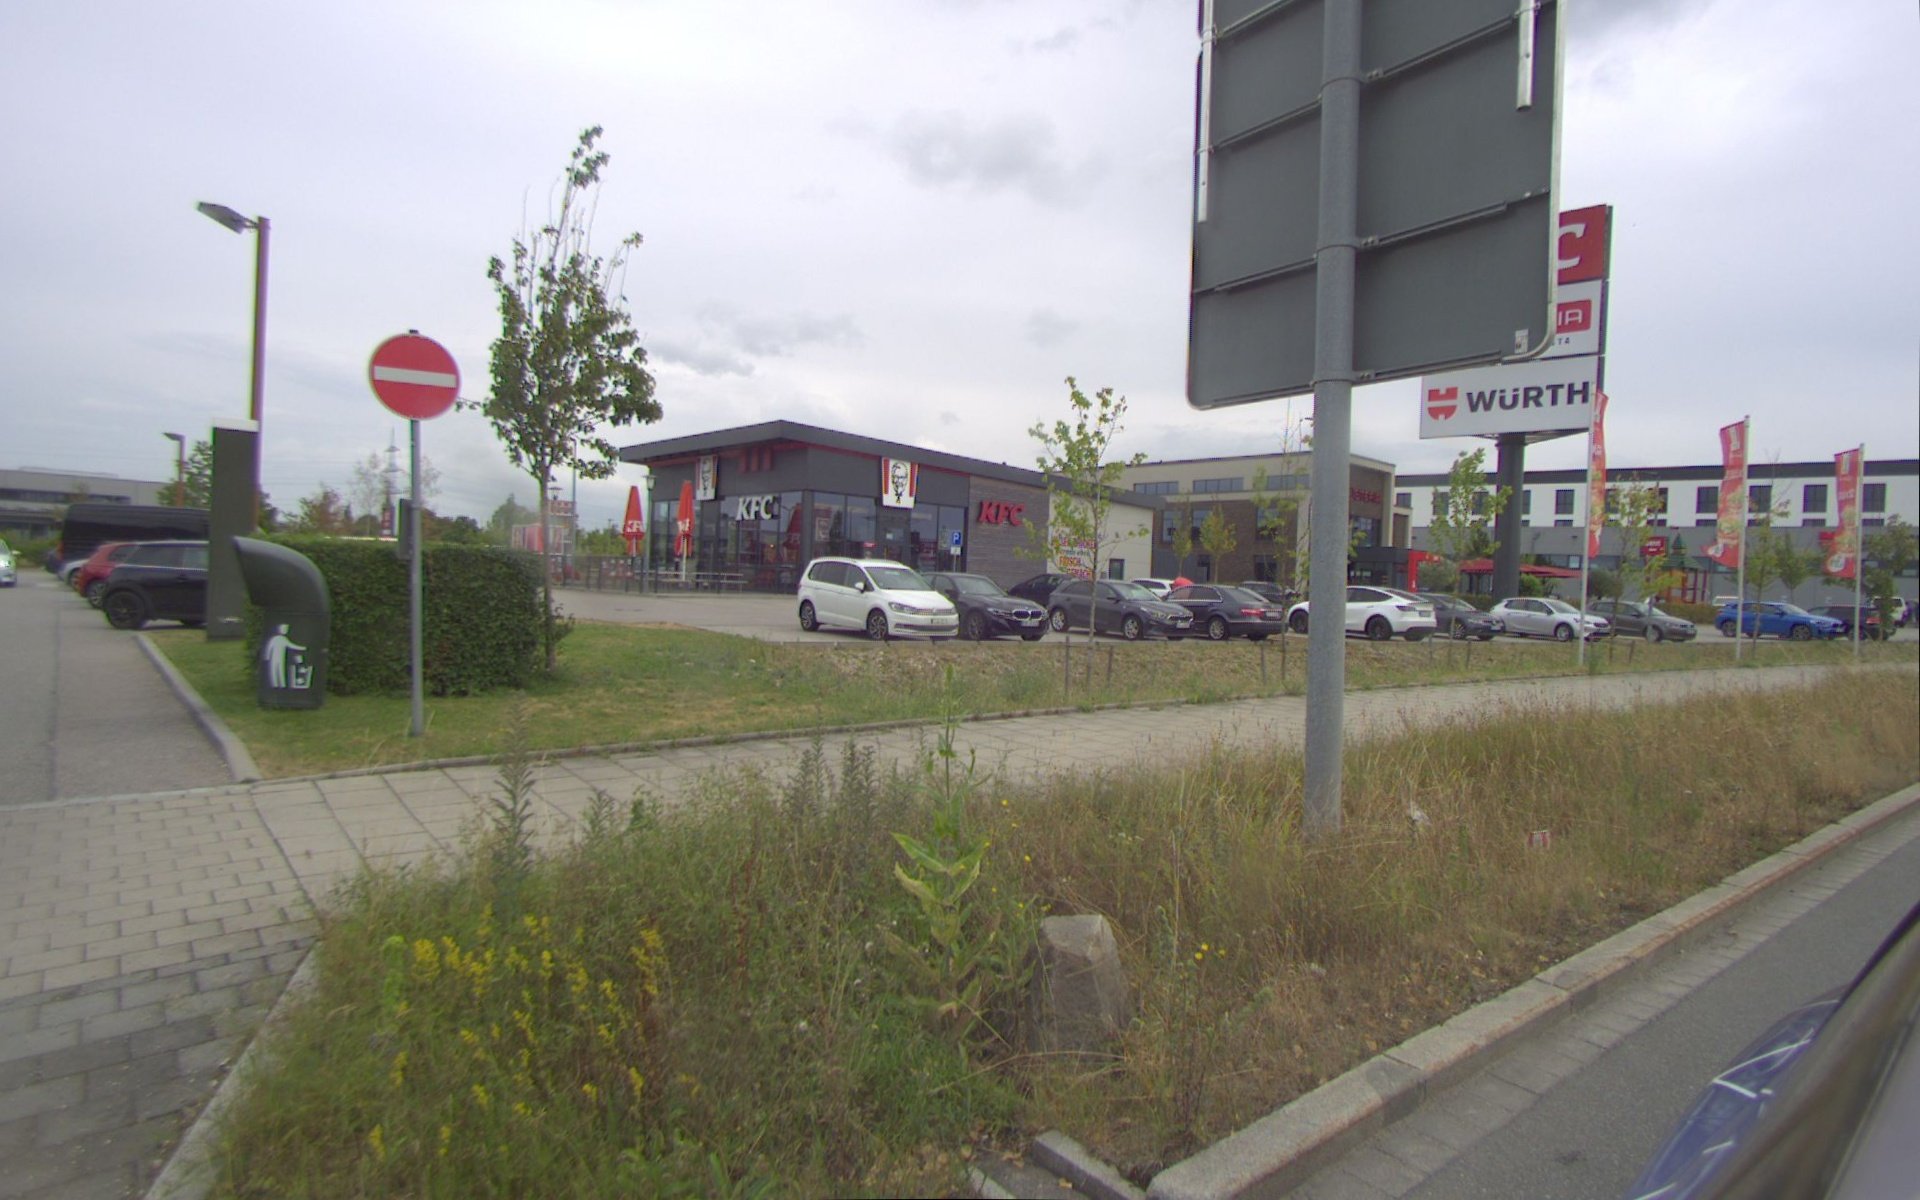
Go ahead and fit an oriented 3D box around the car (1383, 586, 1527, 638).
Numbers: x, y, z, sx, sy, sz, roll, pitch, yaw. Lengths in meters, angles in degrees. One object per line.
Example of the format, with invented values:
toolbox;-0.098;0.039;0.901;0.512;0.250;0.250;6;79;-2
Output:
car;16.564;0.355;34.072;1.900;1.503;4.007;1;2;-27

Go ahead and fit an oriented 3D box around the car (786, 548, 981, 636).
car;-1.725;-0.227;21.615;1.904;1.660;4.356;1;1;-41

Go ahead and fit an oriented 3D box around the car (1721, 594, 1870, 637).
car;34.173;0.586;41.517;1.924;1.539;4.286;1;1;-21

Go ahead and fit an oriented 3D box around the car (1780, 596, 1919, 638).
car;36.758;0.669;41.842;1.940;1.512;4.009;1;1;-19

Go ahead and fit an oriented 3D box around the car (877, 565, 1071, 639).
car;0.212;-0.010;23.152;2.036;1.454;4.479;1;1;-39

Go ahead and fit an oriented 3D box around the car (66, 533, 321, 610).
car;-16.524;-0.620;21.955;4.079;1.447;2.005;2;1;3

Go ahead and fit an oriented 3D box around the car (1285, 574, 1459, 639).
car;12.541;0.144;31.125;2.047;1.665;4.583;1;3;-31

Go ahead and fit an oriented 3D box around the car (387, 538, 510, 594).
car;-17.273;-1.190;34.441;1.968;1.723;4.380;2;3;0

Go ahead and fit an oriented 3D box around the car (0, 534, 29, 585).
car;-29.667;-1.269;30.623;1.921;1.461;4.215;1;2;-39

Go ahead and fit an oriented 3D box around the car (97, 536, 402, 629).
car;-11.716;-0.292;16.911;3.773;1.329;1.819;2;1;-3

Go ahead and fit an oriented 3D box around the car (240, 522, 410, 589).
car;-25.292;-1.730;40.645;5.576;2.380;2.540;2;1;-29

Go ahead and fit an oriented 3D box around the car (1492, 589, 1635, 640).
car;21.139;0.480;35.628;1.863;1.499;3.883;1;3;-25

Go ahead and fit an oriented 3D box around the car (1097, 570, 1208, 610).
car;8.569;-0.454;45.342;2.044;1.537;4.572;1;3;-40

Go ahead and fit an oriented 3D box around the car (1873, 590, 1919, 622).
car;61.763;0.386;66.642;1.989;2.012;4.574;2;1;37

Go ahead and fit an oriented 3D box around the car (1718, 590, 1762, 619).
car;48.627;0.283;63.057;1.991;1.718;4.723;2;1;40

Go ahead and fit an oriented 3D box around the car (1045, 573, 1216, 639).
car;4.258;0.107;25.844;1.907;1.456;4.096;1;2;-37

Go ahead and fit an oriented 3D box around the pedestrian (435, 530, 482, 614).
pedestrian;-11.152;-0.626;22.527;0.466;1.828;0.794;2;1;25

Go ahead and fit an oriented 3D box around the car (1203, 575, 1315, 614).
car;13.694;-0.268;46.589;1.943;1.537;4.570;1;3;-42

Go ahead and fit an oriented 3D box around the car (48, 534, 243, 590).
car;-23.696;-1.097;29.560;4.139;1.461;1.956;2;1;0

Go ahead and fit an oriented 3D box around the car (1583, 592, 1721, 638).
car;25.493;0.526;37.433;1.850;1.512;3.778;1;1;-24

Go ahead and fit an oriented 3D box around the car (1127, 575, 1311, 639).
car;6.846;0.145;27.191;1.993;1.487;4.533;1;1;-35

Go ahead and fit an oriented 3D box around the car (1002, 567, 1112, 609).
car;4.029;-0.522;42.563;2.012;1.537;4.372;1;3;-42

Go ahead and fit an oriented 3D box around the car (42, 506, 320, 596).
car;-24.990;-1.555;32.674;7.188;2.533;2.282;2;1;0
